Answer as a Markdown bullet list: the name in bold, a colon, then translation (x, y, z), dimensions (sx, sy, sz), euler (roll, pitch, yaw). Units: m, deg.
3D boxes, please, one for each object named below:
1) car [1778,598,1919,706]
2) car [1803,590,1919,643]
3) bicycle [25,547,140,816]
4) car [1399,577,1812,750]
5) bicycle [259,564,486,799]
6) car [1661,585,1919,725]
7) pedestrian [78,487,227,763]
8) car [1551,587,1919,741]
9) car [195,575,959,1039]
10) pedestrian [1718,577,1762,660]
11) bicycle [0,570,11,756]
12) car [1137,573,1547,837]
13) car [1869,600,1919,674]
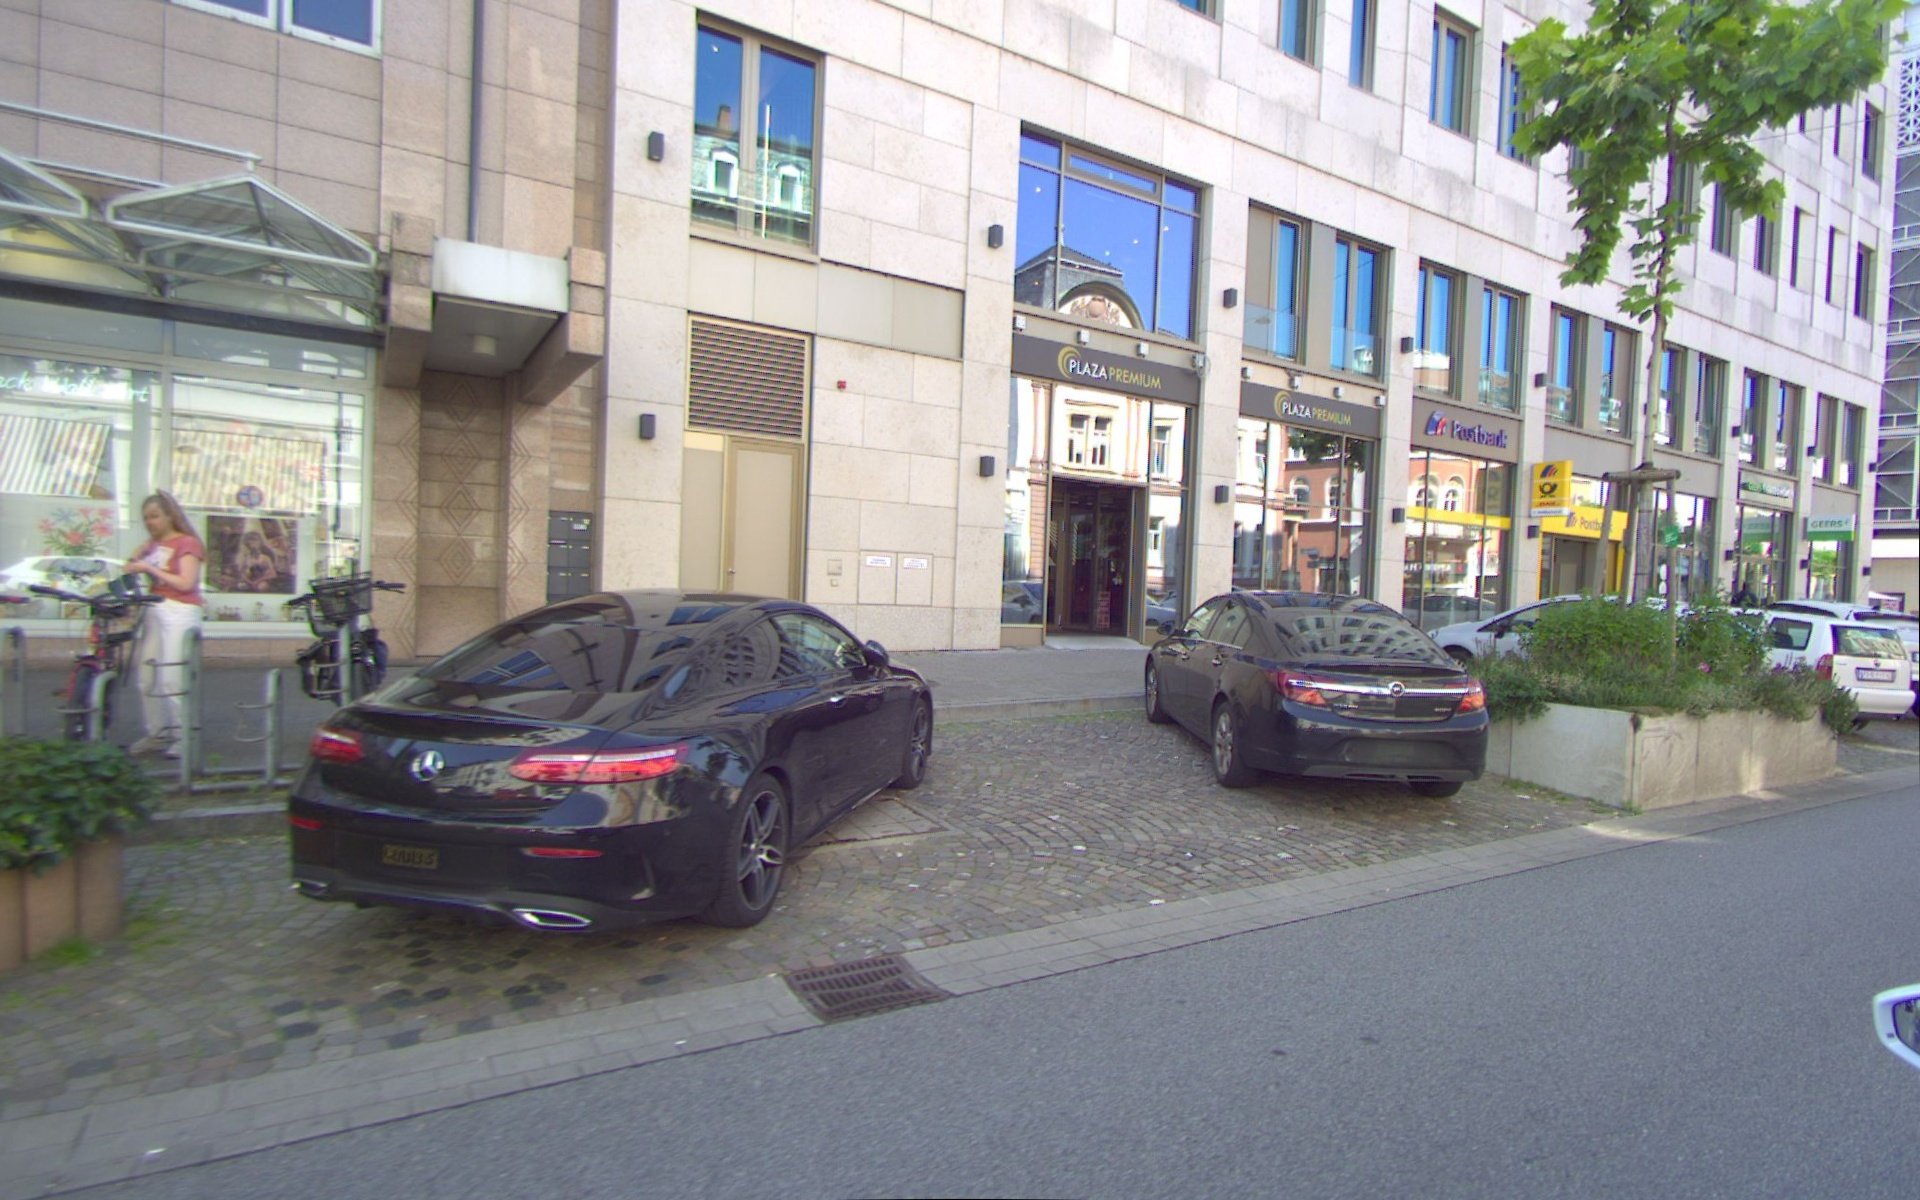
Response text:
- **car**: translation (16.393, 0.927, 17.212), dimensions (1.636, 1.479, 4.000), euler (5, 5, 6)
- **car**: translation (37.735, 0.653, 41.596), dimensions (1.915, 2.040, 3.962), euler (1, 1, -34)
- **bicycle**: translation (-5.210, 0.380, 6.021), dimensions (0.364, 1.306, 2.049), euler (1, 4, -37)
- **car**: translation (7.948, 0.656, 12.744), dimensions (1.700, 1.520, 3.961), euler (1, 5, -34)
- **bicycle**: translation (-3.988, 0.449, 6.729), dimensions (2.043, 1.236, 0.755), euler (6, 4, 44)
- **car**: translation (13.470, 0.776, 15.816), dimensions (1.668, 1.589, 3.995), euler (4, 5, -6)
- **pedestrian**: translation (-5.235, 0.149, 6.519), dimensions (0.558, 1.679, 0.634), euler (2, 1, 38)
- **car**: translation (10.561, 0.756, 13.879), dimensions (1.753, 1.510, 3.988), euler (3, 4, -13)
- **car**: translation (-1.445, 0.639, 5.828), dimensions (1.868, 1.427, 4.652), euler (3, 3, 12)
- **pedestrian**: translation (19.511, 0.450, 25.129), dimensions (0.692, 2.040, 0.621), euler (1, 1, -30)
- **bicycle**: translation (-5.743, 0.452, 5.581), dimensions (0.460, 1.145, 2.049), euler (1, 4, -38)
- **car**: translation (2.873, 0.637, 8.728), dimensions (1.797, 1.534, 4.353), euler (3, 3, 0)
- **car**: translation (22.133, 0.973, 21.207), dimensions (1.698, 1.520, 3.964), euler (1, 5, -32)
